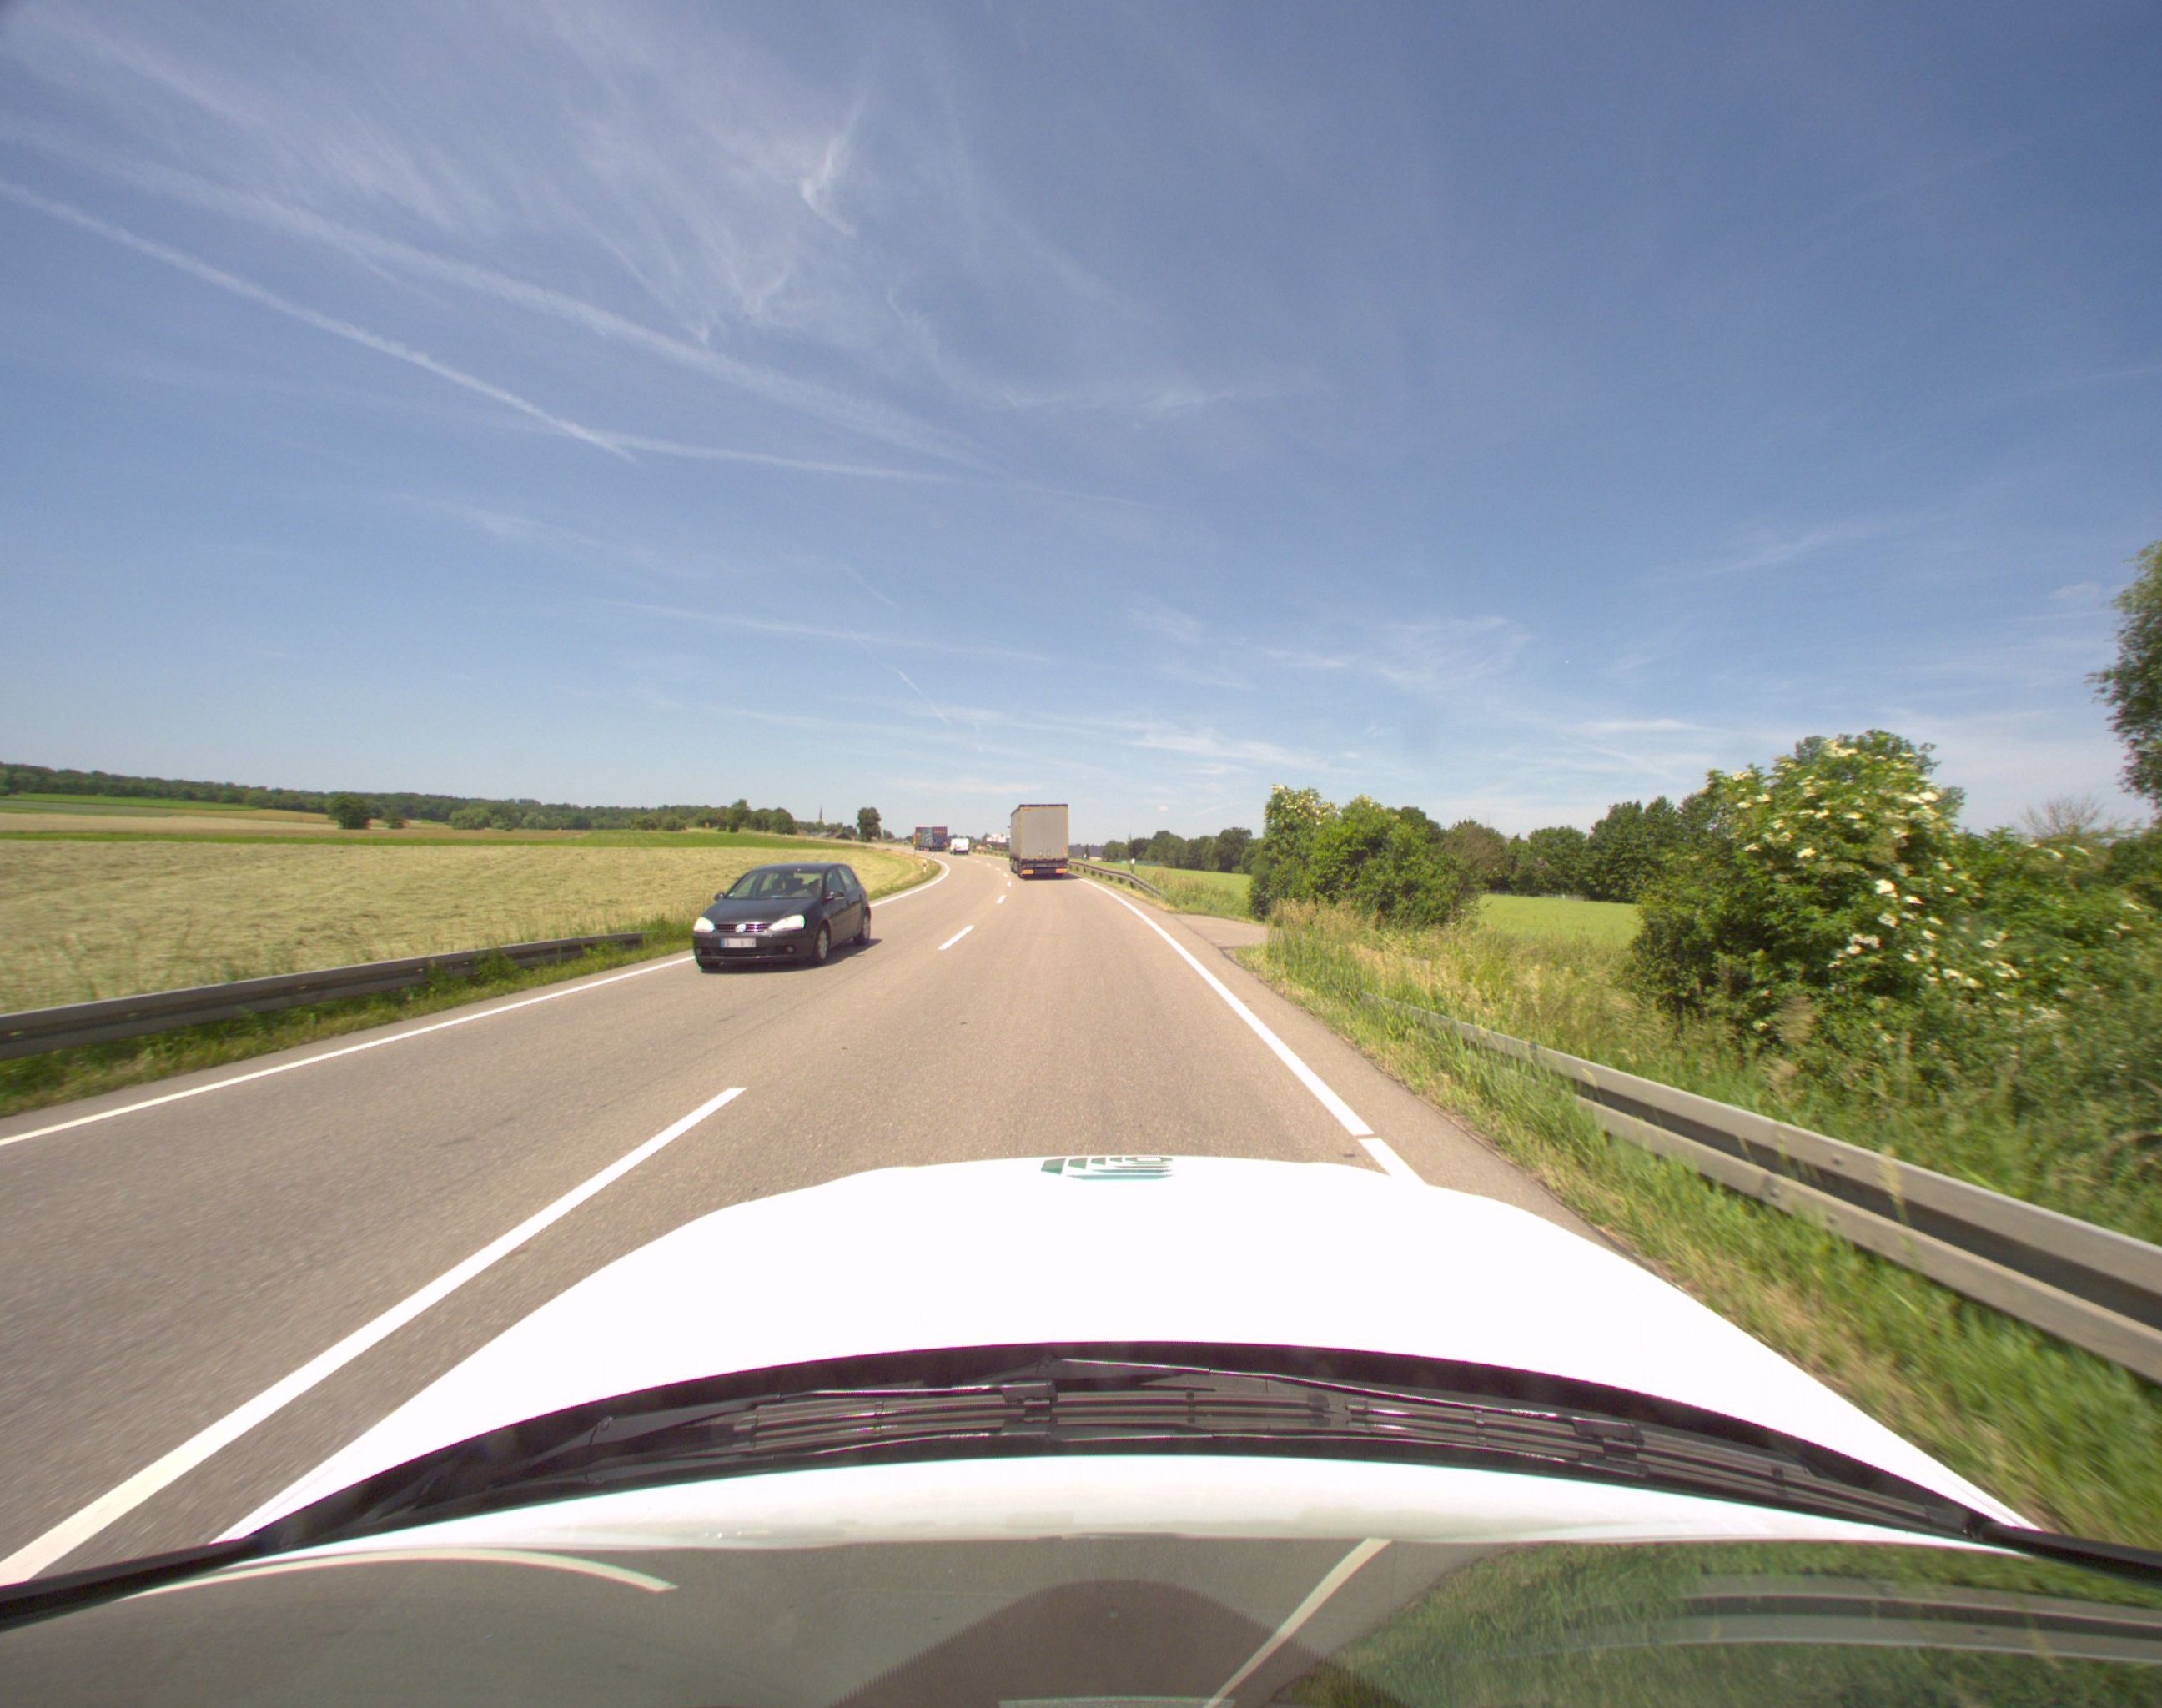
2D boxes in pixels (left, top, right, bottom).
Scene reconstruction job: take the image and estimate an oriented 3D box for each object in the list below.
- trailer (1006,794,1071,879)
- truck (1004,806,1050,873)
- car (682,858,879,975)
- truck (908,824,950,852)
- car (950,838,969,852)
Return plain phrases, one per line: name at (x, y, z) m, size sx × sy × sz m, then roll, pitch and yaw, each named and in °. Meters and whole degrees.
trailer at (-2.836, -0.949, 49.051) m, size 2.865 × 4.400 × 13.458 m, roll -1°, pitch 0°, yaw -7°
truck at (-3.783, -0.989, 56.158) m, size 2.857 × 4.400 × 5.058 m, roll -1°, pitch 0°, yaw -8°
car at (-4.512, 0.831, 12.940) m, size 1.696 × 1.469 × 4.196 m, roll -2°, pitch 0°, yaw -3°
truck at (-25.572, -2.642, 136.119) m, size 3.563 × 4.392 × 17.992 m, roll 1°, pitch 0°, yaw -21°
car at (-16.996, -1.271, 113.558) m, size 1.732 × 1.873 × 3.970 m, roll 0°, pitch -1°, yaw -22°
